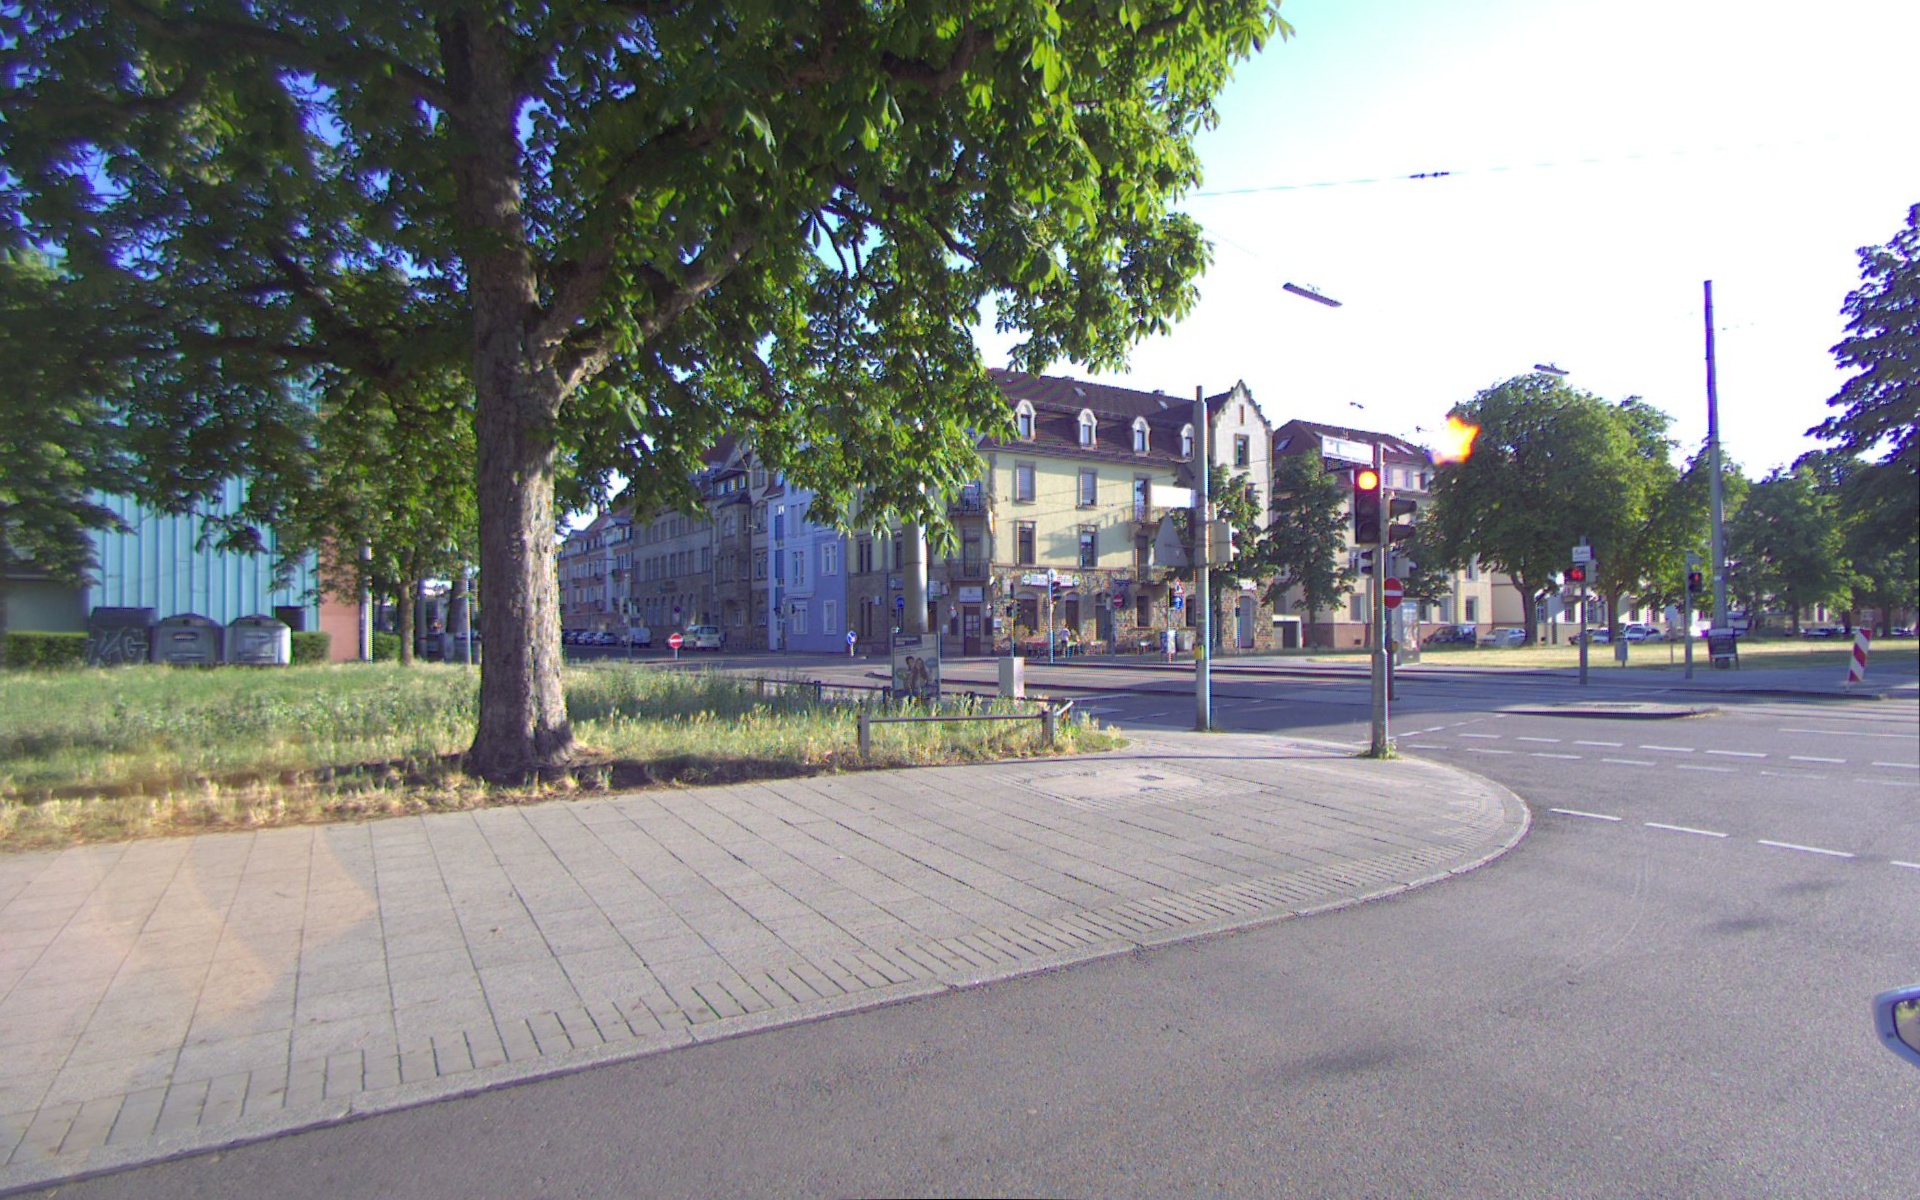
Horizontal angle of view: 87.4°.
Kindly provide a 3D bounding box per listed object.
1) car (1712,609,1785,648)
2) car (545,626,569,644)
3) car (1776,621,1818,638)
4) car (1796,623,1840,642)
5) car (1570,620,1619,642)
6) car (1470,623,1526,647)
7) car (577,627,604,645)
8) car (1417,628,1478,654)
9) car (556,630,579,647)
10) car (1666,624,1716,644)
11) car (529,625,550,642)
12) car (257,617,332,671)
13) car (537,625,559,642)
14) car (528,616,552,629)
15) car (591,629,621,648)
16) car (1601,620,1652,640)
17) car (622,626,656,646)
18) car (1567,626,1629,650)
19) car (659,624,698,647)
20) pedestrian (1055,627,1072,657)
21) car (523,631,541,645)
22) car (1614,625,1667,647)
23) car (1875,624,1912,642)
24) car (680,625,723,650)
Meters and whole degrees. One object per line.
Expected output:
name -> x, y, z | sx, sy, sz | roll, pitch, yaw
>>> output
car -> 67.948, 2.398, 86.503 | 7.764, 3.173, 2.379 | 1, 1, -32
car -> -48.991, 4.283, 122.100 | 1.805, 2.040, 3.924 | 2, 0, -34
car -> 86.944, 3.058, 104.353 | 4.323, 1.681, 1.984 | 2, 0, -30
car -> 80.906, 3.078, 94.695 | 4.266, 1.696, 1.869 | 2, 0, -31
car -> 52.665, 2.573, 83.412 | 4.142, 1.654, 1.707 | 2, 0, -30
car -> 40.867, 2.655, 76.261 | 3.953, 1.681, 1.984 | 2, 0, -30
car -> -39.795, 3.881, 108.240 | 1.816, 1.692, 3.911 | 2, 0, -34
car -> 35.607, 3.009, 73.321 | 4.261, 1.759, 1.984 | 2, 0, -30
car -> -46.011, 4.489, 117.739 | 1.782, 1.855, 3.755 | 2, 0, -34
car -> 66.783, 3.085, 91.749 | 4.517, 1.681, 1.984 | 2, 0, -30
car -> -54.772, 4.339, 130.901 | 1.756, 2.040, 3.790 | 2, 0, -34
car -> -22.841, 1.574, 34.508 | 1.979, 1.693, 5.177 | 2, -4, -34
car -> -51.982, 4.189, 126.658 | 1.789, 2.040, 3.772 | 2, 0, -33
car -> -58.314, 3.129, 139.346 | 1.912, 1.715, 3.951 | 2, 0, -42
car -> -36.494, 3.973, 103.597 | 1.980, 1.694, 3.743 | 2, 0, -34
car -> 58.137, 2.628, 87.604 | 4.517, 1.681, 1.984 | 2, 0, -30
car -> -30.014, 3.334, 93.928 | 1.980, 1.694, 3.743 | 2, 0, -34
car -> 46.455, 2.765, 73.141 | 4.517, 1.681, 1.984 | 2, 0, -30
car -> -23.270, 2.914, 83.064 | 1.980, 1.763, 3.962 | 1, 0, -34
pedestrian -> 5.784, 2.348, 56.302 | 0.676, 1.646, 0.612 | 2, 0, -34
car -> -57.492, 5.134, 134.890 | 1.713, 1.694, 3.638 | 2, 0, -33
car -> 51.623, 2.698, 76.204 | 4.372, 1.575, 1.785 | 0, 1, -34
car -> 97.847, 3.474, 105.248 | 4.075, 1.804, 1.802 | 2, 0, -31
car -> -20.155, 2.882, 78.228 | 2.011, 1.760, 3.743 | 2, 0, -34
